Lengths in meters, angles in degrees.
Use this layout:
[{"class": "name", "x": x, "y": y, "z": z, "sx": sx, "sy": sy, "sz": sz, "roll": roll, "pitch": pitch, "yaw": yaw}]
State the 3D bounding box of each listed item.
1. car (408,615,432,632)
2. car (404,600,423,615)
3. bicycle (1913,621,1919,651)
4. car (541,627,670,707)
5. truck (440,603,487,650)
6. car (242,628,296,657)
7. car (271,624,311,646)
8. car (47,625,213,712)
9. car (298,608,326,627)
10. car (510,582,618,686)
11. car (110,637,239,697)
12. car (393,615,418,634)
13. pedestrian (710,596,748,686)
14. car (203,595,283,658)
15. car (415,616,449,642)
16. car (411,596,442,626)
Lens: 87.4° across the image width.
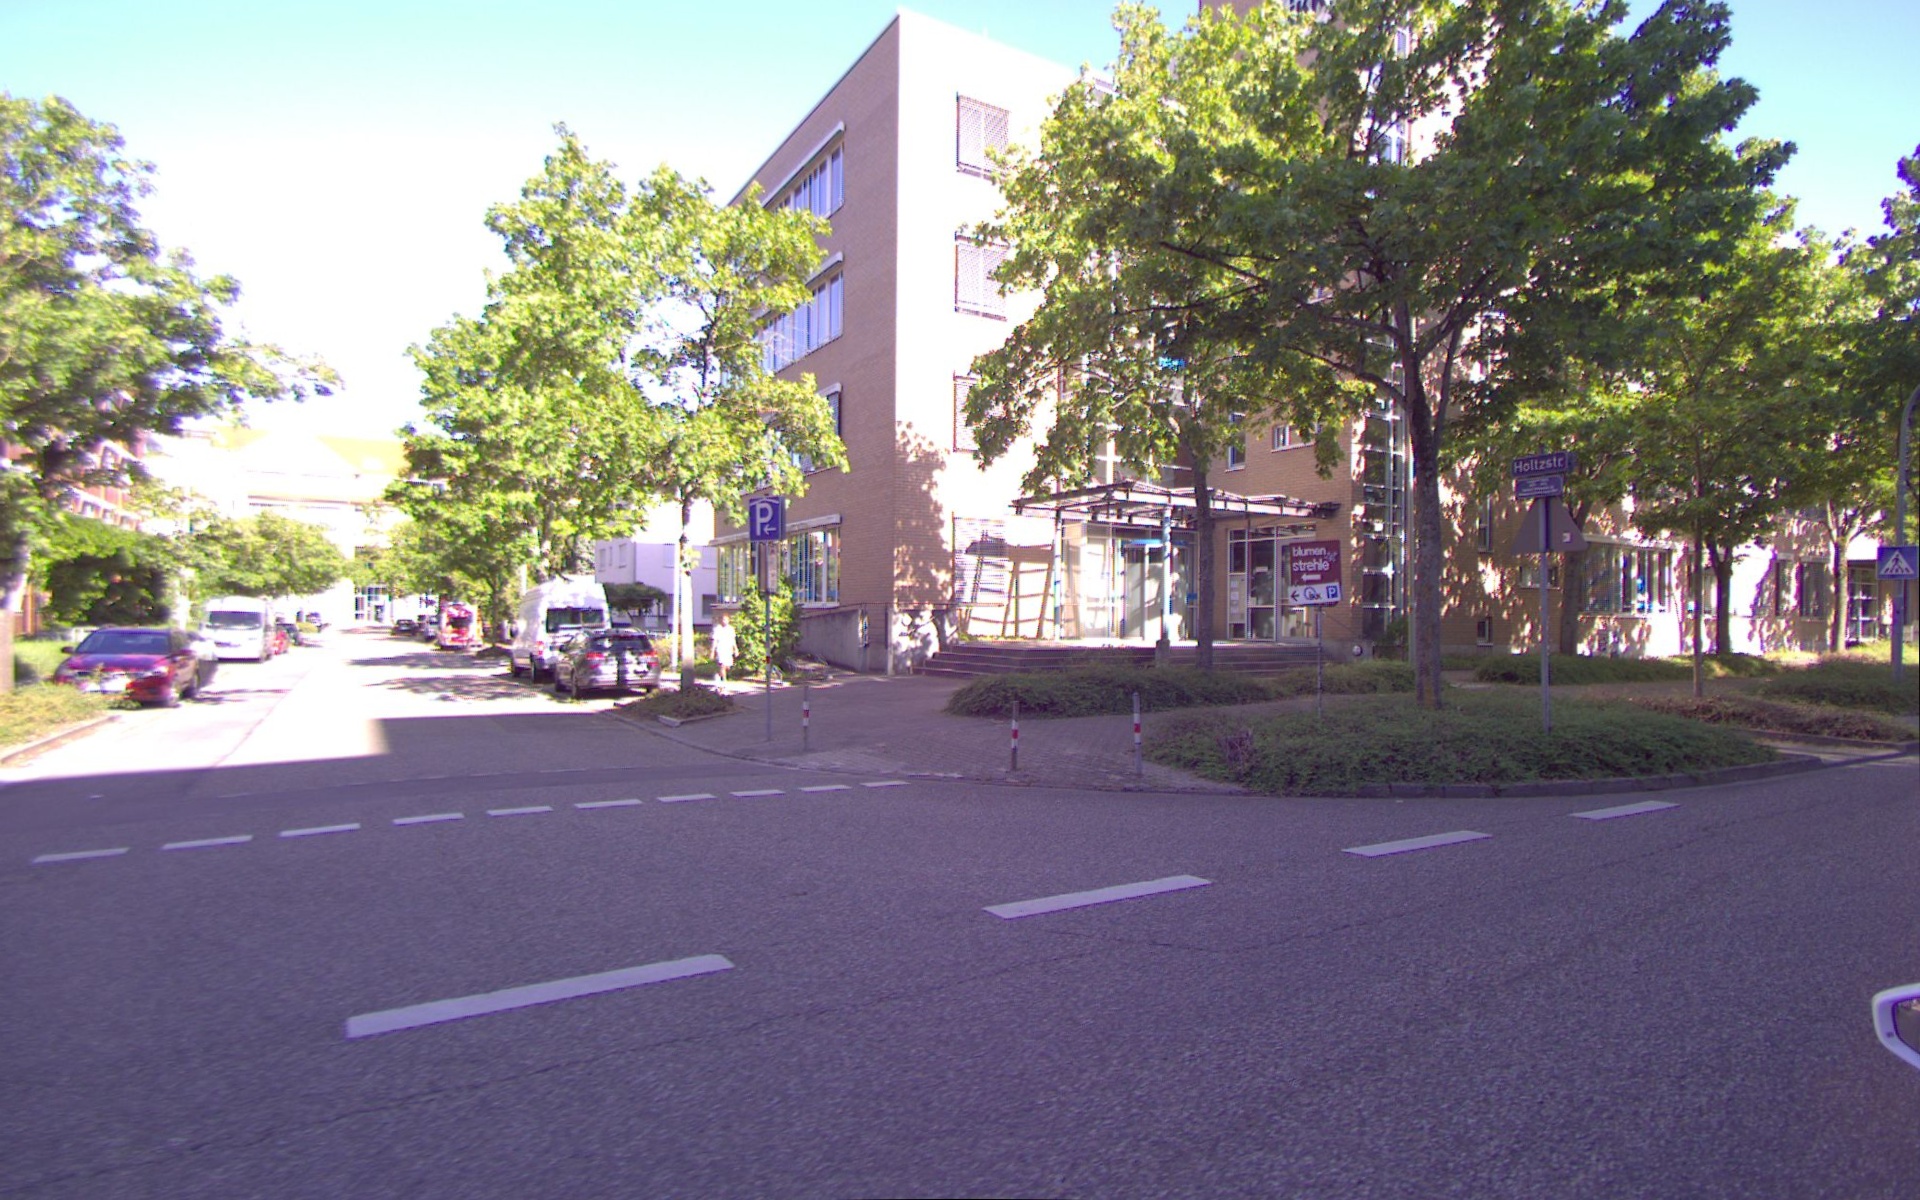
[{"class": "car", "x": -52.274, "y": 2.286, "z": 97.271, "sx": 1.847, "sy": 1.668, "sz": 4.293, "roll": 1, "pitch": -2, "yaw": -31}, {"class": "car", "x": -67.277, "y": 0.991, "z": 123.697, "sx": 1.963, "sy": 1.734, "sz": 4.142, "roll": 1, "pitch": -2, "yaw": -30}, {"class": "bicycle", "x": 45.817, "y": 1.717, "z": 46.956, "sx": 1.702, "sy": 1.428, "sz": 0.612, "roll": 2, "pitch": 1, "yaw": 36}, {"class": "car", "x": -8.088, "y": 1.405, "z": 22.668, "sx": 1.827, "sy": 1.528, "sz": 4.684, "roll": 1, "pitch": -1, "yaw": -31}, {"class": "truck", "x": -28.092, "y": 1.511, "z": 56.800, "sx": 1.978, "sy": 2.575, "sz": 3.965, "roll": 1, "pitch": -2, "yaw": -32}, {"class": "car", "x": -33.604, "y": 2.043, "z": 48.968, "sx": 1.826, "sy": 1.349, "sz": 4.049, "roll": 1, "pitch": -2, "yaw": -30}, {"class": "car", "x": -41.459, "y": 2.161, "z": 62.301, "sx": 1.749, "sy": 1.349, "sz": 4.049, "roll": 1, "pitch": -2, "yaw": -30}, {"class": "car", "x": -16.466, "y": 1.275, "z": 20.161, "sx": 1.826, "sy": 1.471, "sz": 4.405, "roll": 1, "pitch": -1, "yaw": -30}, {"class": "car", "x": -59.124, "y": 1.592, "z": 91.728, "sx": 1.754, "sy": 1.695, "sz": 3.973, "roll": 1, "pitch": -2, "yaw": -27}, {"class": "car", "x": -11.150, "y": 0.950, "z": 28.054, "sx": 1.902, "sy": 2.602, "sz": 5.433, "roll": 1, "pitch": -2, "yaw": -31}, {"class": "car", "x": -19.109, "y": 1.563, "z": 24.649, "sx": 1.826, "sy": 1.203, "sz": 4.686, "roll": 2, "pitch": -1, "yaw": -30}, {"class": "car", "x": -47.896, "y": 2.112, "z": 86.767, "sx": 1.838, "sy": 1.575, "sz": 3.661, "roll": 1, "pitch": -2, "yaw": -29}, {"class": "pedestrian", "x": -5.092, "y": 0.889, "z": 22.132, "sx": 0.664, "sy": 1.943, "sz": 0.619, "roll": 1, "pitch": -1, "yaw": -30}, {"class": "car", "x": -27.969, "y": 0.990, "z": 39.308, "sx": 2.060, "sy": 2.300, "sz": 4.686, "roll": 1, "pitch": -1, "yaw": -30}, {"class": "car", "x": -39.253, "y": 2.136, "z": 74.593, "sx": 2.060, "sy": 1.892, "sz": 4.686, "roll": 1, "pitch": -2, "yaw": -30}, {"class": "car", "x": -43.231, "y": 0.949, "z": 81.328, "sx": 2.060, "sy": 2.299, "sz": 4.686, "roll": 1, "pitch": -2, "yaw": -30}]
